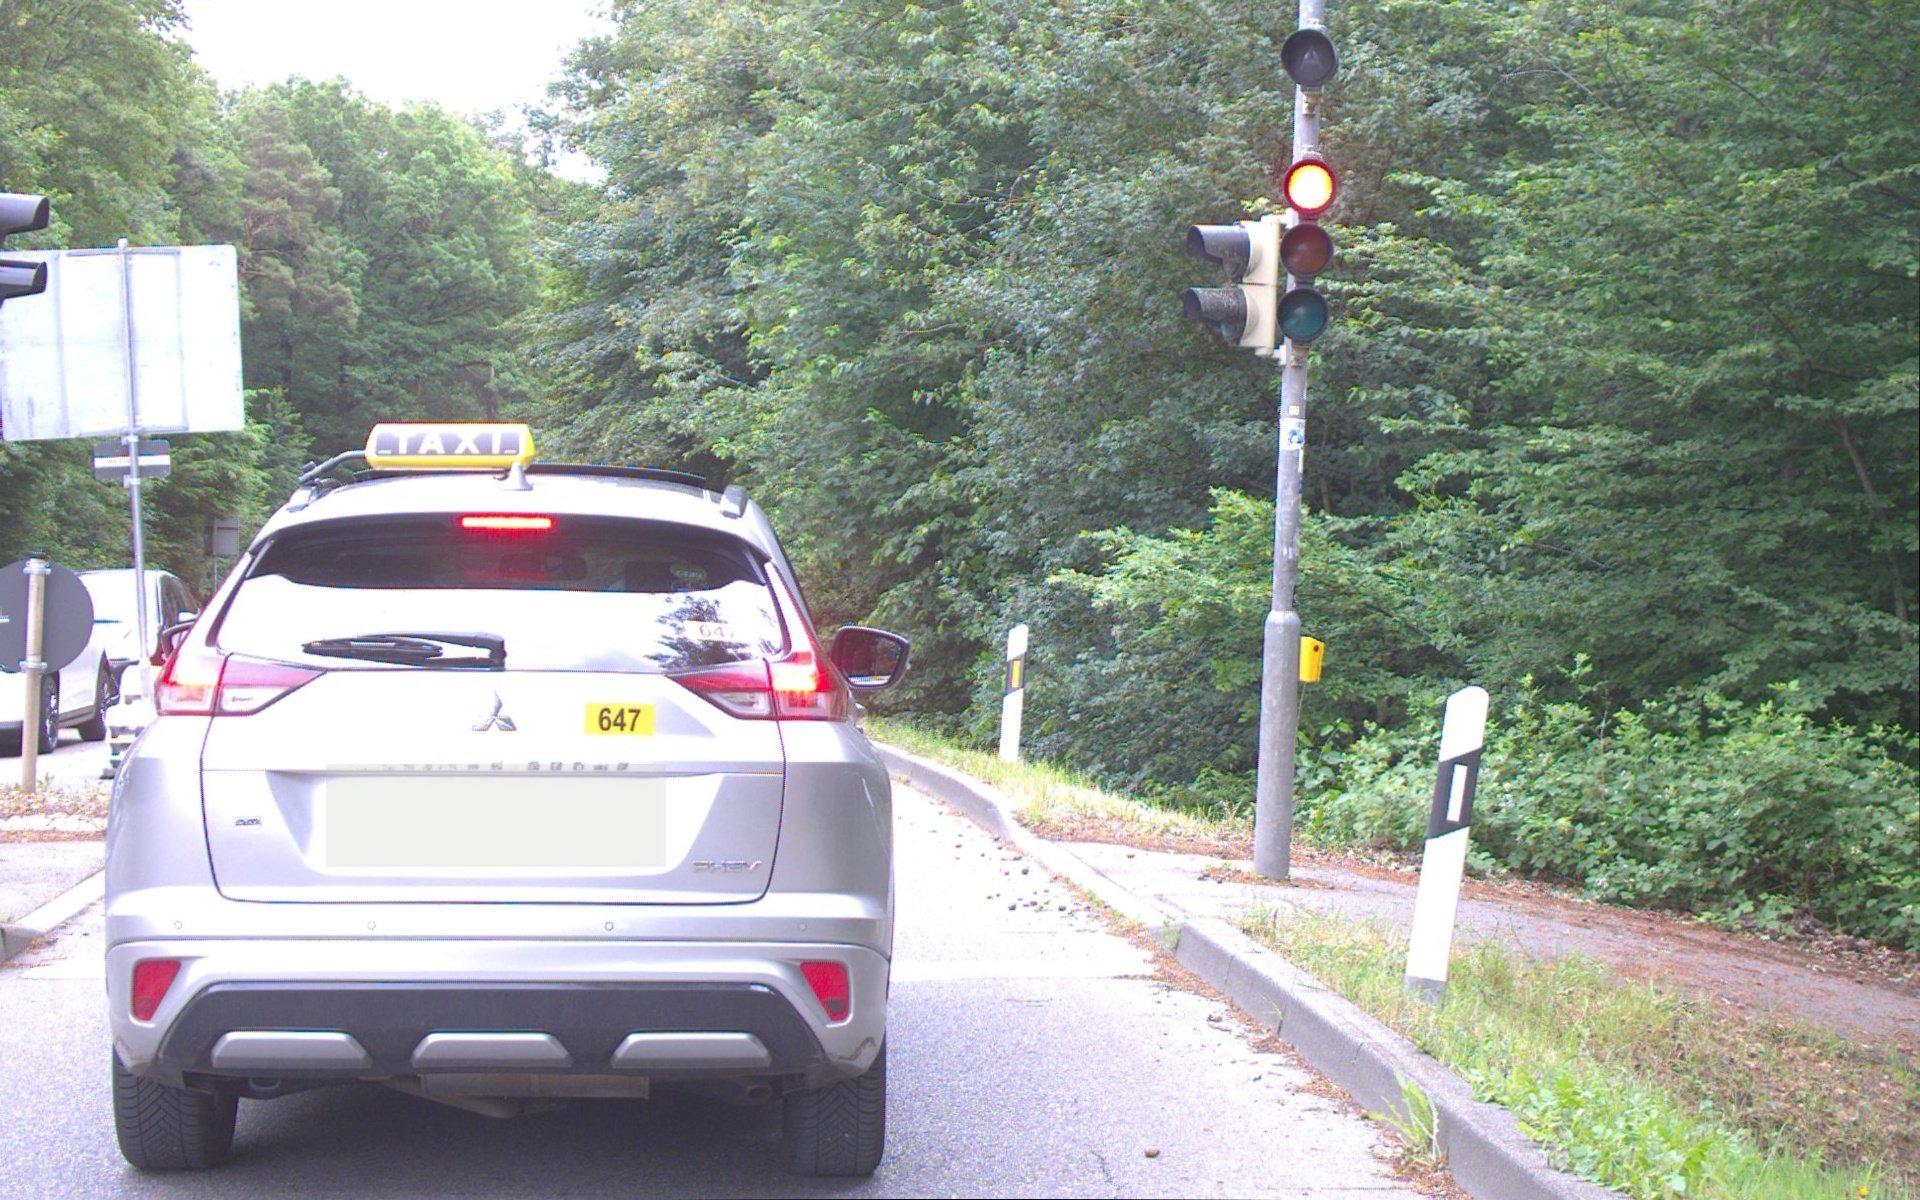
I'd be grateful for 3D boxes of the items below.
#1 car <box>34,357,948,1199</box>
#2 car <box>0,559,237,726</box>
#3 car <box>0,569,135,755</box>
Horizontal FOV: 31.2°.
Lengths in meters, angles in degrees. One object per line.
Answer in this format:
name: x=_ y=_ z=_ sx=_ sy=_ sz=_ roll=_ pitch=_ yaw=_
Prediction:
car: x=-1.160 y=0.377 z=9.143 sx=1.846 sy=1.774 sz=4.001 roll=1 pitch=1 yaw=-6
car: x=-8.325 y=0.384 z=33.729 sx=1.811 sy=1.503 sz=3.722 roll=-2 pitch=0 yaw=-3
car: x=-7.801 y=0.467 z=27.549 sx=1.612 sy=1.317 sz=3.722 roll=-2 pitch=2 yaw=-3
